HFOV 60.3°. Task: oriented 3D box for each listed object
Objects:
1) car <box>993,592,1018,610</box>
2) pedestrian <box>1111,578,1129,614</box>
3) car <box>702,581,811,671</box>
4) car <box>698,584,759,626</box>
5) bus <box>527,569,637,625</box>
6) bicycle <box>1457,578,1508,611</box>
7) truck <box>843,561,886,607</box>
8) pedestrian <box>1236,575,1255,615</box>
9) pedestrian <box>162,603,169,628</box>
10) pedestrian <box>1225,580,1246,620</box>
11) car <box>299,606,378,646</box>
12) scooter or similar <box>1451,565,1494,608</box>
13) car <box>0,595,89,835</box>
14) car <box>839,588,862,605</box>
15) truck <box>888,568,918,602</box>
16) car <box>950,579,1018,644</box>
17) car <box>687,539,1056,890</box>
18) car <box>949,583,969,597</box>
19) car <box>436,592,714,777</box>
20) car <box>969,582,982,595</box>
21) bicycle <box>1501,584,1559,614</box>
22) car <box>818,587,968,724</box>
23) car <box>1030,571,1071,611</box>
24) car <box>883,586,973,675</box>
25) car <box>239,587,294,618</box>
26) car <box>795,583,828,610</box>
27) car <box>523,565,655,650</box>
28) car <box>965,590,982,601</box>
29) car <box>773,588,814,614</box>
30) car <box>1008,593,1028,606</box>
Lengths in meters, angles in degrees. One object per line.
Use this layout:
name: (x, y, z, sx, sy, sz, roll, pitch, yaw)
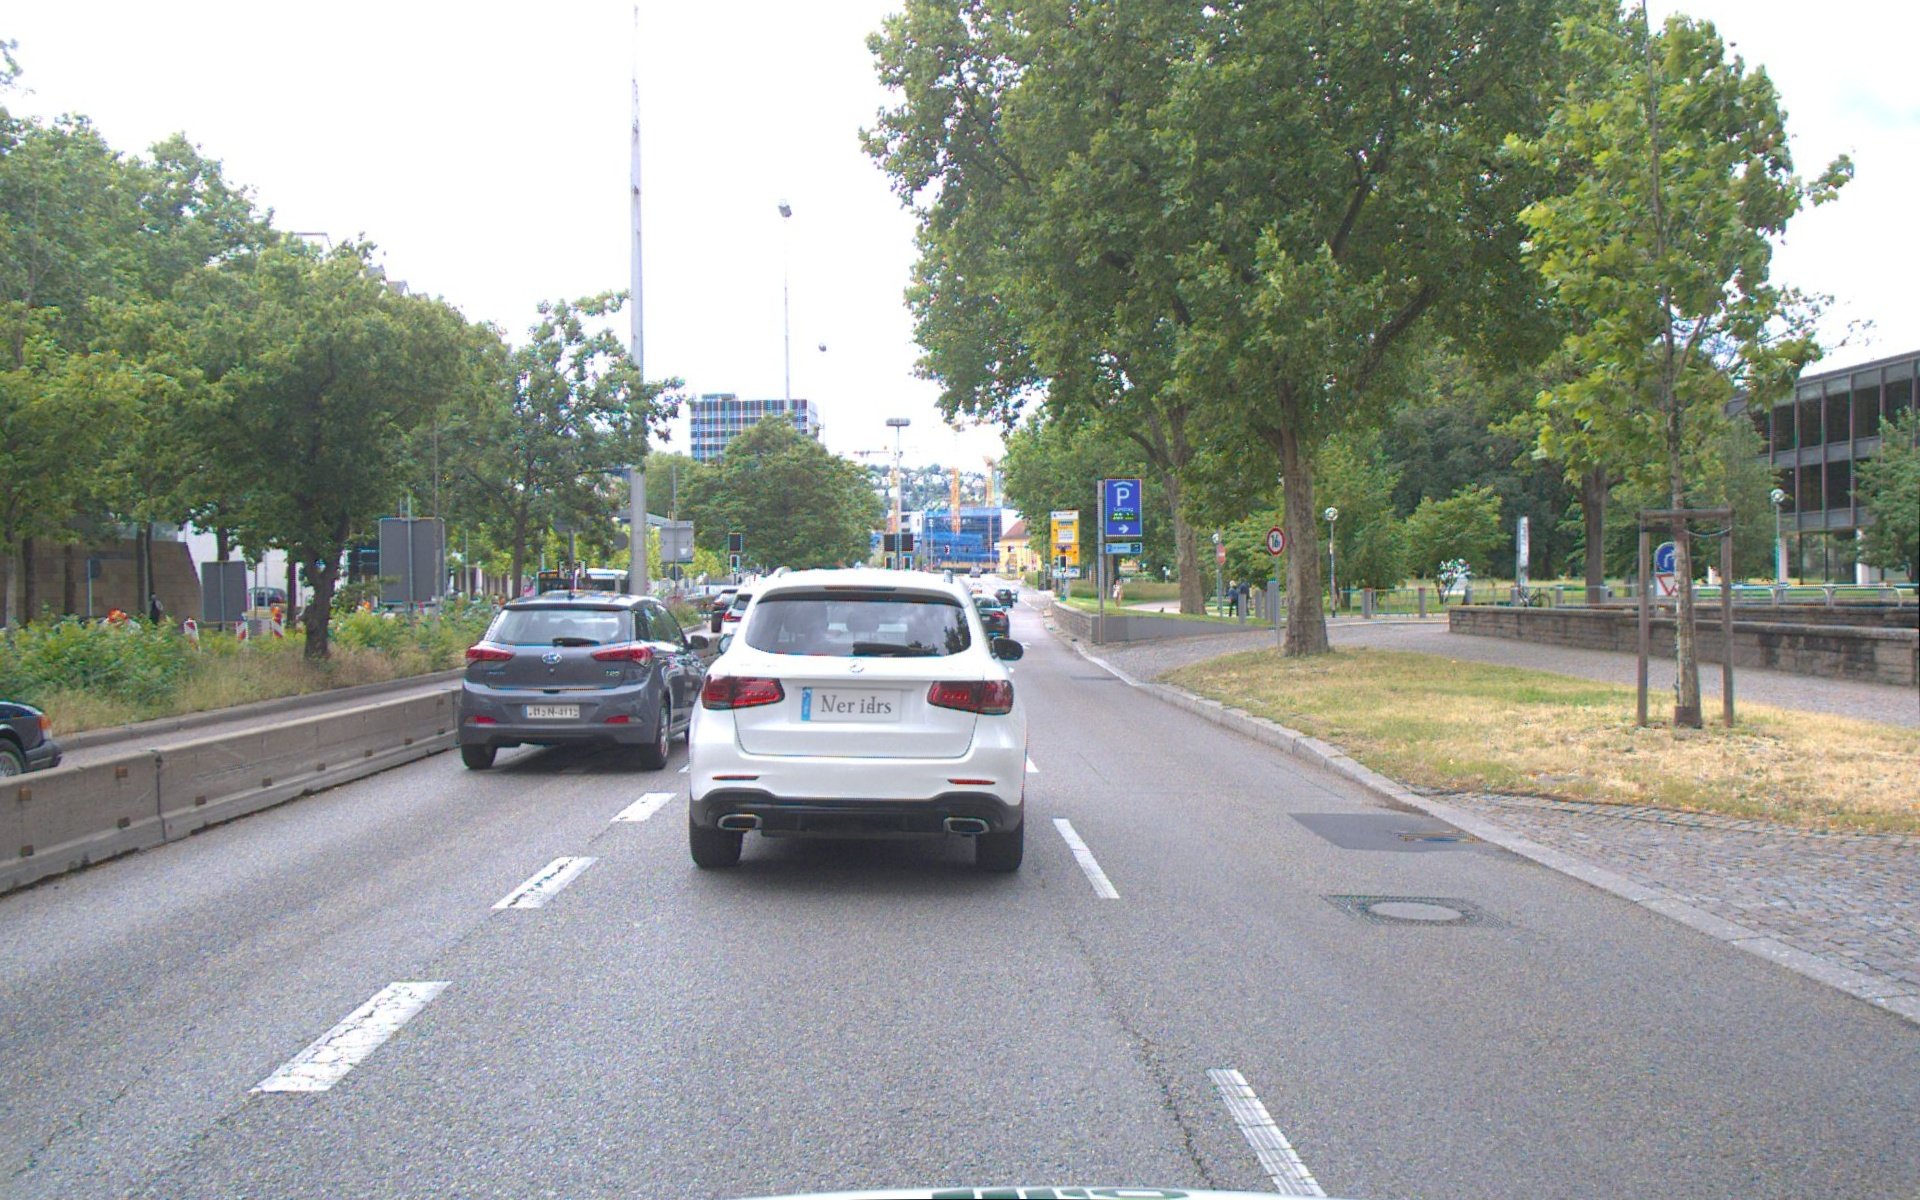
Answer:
car: (3.729, 0.098, 136.414, 1.907, 1.453, 4.016, 0, 0, 0)
pedestrian: (9.295, -0.223, 96.010, 0.746, 2.049, 0.696, 0, 0, 35)
car: (-4.000, 0.490, 33.134, 1.814, 1.656, 4.903, 0, 0, -3)
car: (-8.137, 0.148, 58.438, 1.740, 1.445, 3.998, -1, 1, -2)
bus: (-23.536, -0.239, 104.083, 3.592, 3.261, 14.273, -1, 0, 0)
bicycle: (17.924, -0.190, 56.802, 0.934, 1.082, 2.335, 1, 0, -2)
truck: (-6.254, -1.043, 109.040, 2.568, 2.911, 7.076, 1, 0, -2)
pedestrian: (12.431, -0.213, 72.083, 0.743, 1.755, 0.699, -1, 0, 7)
pedestrian: (-35.161, 0.665, 73.184, 0.211, 1.097, 0.258, 2, -1, -19)
pedestrian: (11.370, -0.005, 68.243, 0.651, 1.639, 0.637, -1, 0, -19)
car: (-23.440, 0.975, 62.511, 1.627, 1.407, 3.802, -1, 0, -2)
scooter or similar: (15.480, -0.395, 49.989, 0.622, 1.267, 2.225, 1, 0, 1)
car: (-6.353, 0.683, 8.303, 1.644, 1.391, 4.542, -1, 0, -2)
car: (-8.958, -0.294, 135.321, 1.625, 1.343, 3.547, 0, 0, 0)
truck: (-5.257, -1.384, 153.229, 2.638, 3.044, 5.635, 1, 0, -2)
car: (0.643, 0.315, 47.739, 1.788, 1.783, 3.999, -1, 0, -2)
car: (-0.423, 0.559, 10.348, 1.751, 1.653, 4.437, -2, 0, 0)
car: (-0.093, -0.941, 155.666, 1.907, 1.343, 4.016, 0, 0, 0)
car: (-3.365, 0.676, 15.188, 1.762, 1.462, 4.018, 0, 0, -3)
car: (2.072, -1.575, 222.091, 1.723, 1.698, 4.167, 0, 0, -1)
bicycle: (19.474, -0.025, 56.564, 0.934, 0.992, 2.786, 1, 0, -2)
car: (-0.964, 0.670, 21.769, 1.761, 1.636, 3.750, 0, 0, -6)
car: (4.797, -0.463, 88.227, 1.953, 2.049, 4.000, 0, 0, 0)
car: (-0.684, 0.570, 33.087, 1.626, 1.668, 3.544, -1, 0, -4)
car: (-44.880, 0.127, 107.068, 1.953, 1.948, 3.999, -1, 0, -2)
car: (-8.603, -0.206, 95.843, 1.625, 1.540, 3.547, -1, 0, 0)
car: (-6.767, 0.146, 30.544, 1.628, 1.461, 3.959, 0, 0, -2)
car: (1.502, -0.508, 190.530, 1.907, 1.343, 4.016, 0, 0, 0)
car: (-8.549, 0.050, 85.164, 1.625, 1.343, 3.548, 0, 0, 2)
car: (5.811, -0.053, 165.556, 1.907, 1.343, 4.016, 0, 0, 0)
